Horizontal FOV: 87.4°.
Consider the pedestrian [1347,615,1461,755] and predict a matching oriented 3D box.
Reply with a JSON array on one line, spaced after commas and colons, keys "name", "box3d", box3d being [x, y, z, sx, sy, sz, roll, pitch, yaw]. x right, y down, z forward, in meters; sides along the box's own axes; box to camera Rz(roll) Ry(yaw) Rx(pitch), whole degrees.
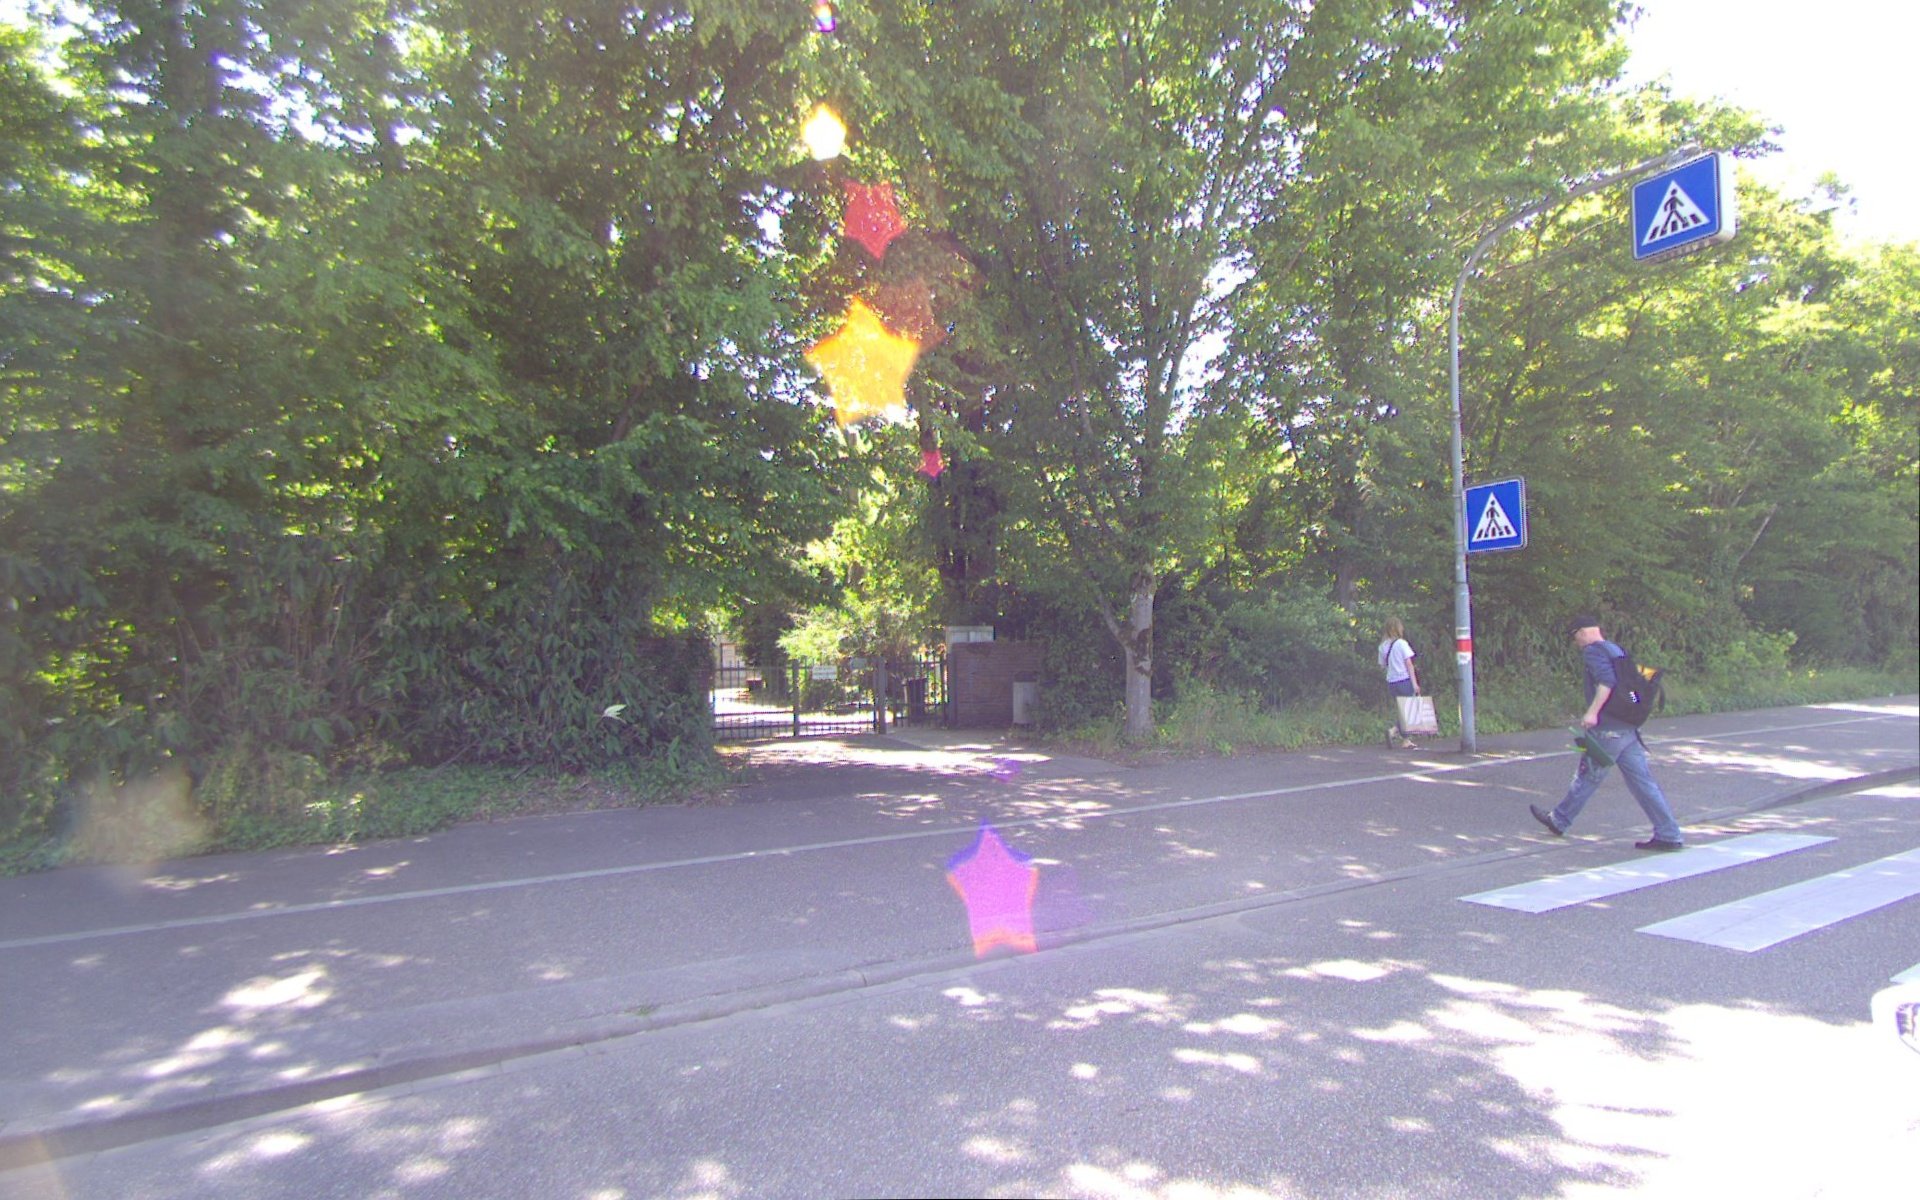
[{"name": "pedestrian", "box3d": [5.440, 1.009, 12.344, 0.875, 1.634, 0.928, 0, -1, -30]}]

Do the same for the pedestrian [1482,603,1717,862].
[{"name": "pedestrian", "box3d": [4.865, 0.952, 7.686, 1.012, 1.774, 1.149, 1, -4, -33]}]
